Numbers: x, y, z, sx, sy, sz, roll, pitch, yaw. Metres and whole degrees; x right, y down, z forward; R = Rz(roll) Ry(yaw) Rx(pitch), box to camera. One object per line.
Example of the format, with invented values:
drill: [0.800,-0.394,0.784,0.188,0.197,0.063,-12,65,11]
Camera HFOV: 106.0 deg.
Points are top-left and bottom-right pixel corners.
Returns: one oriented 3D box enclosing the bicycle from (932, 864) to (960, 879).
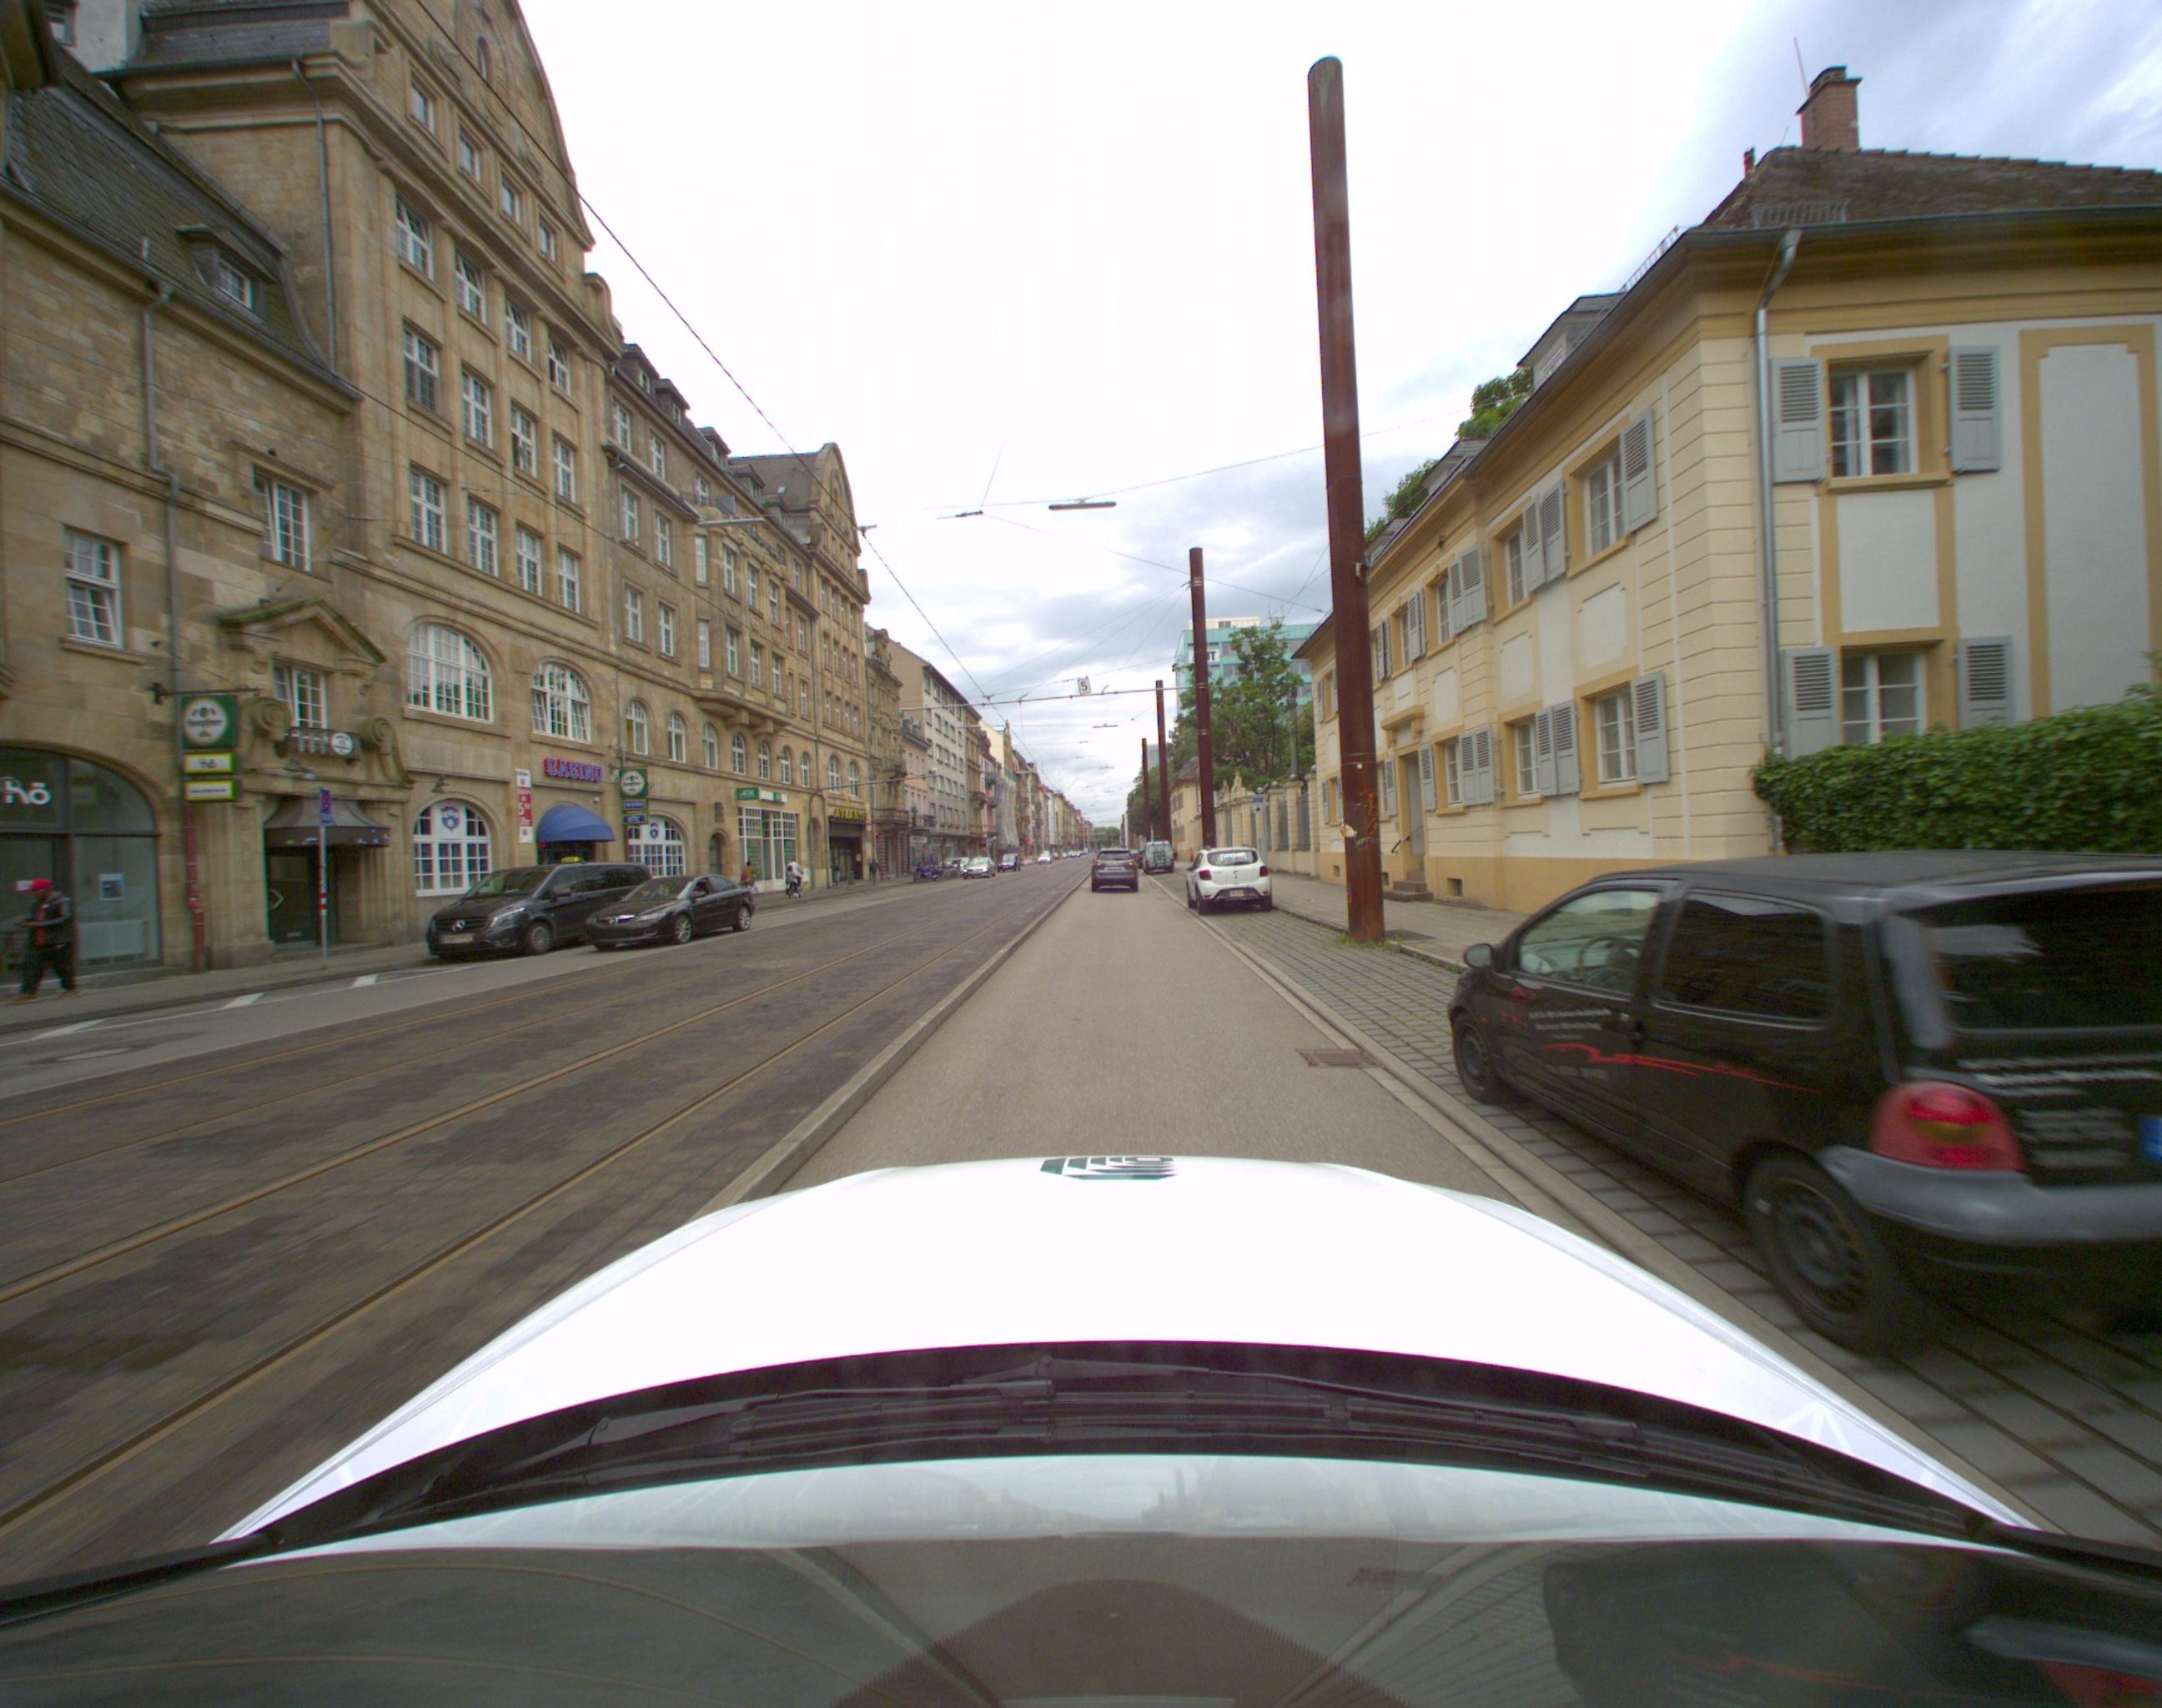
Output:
bicycle: [-10.084,1.306,60.833,1.963,1.001,0.462,-2,0,-6]

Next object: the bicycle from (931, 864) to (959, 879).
bicycle: [-10.044,1.317,60.227,1.963,1.001,0.462,-2,0,-6]

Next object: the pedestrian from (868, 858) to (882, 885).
pedestrian: [-12.349,1.037,48.864,0.566,1.598,0.718,-2,0,2]

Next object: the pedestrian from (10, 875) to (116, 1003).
pedestrian: [-14.610,1.192,11.710,0.493,1.728,0.765,-2,0,-1]

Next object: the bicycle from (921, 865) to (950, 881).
bicycle: [-10.112,1.289,56.483,1.919,1.001,0.462,-2,0,-6]

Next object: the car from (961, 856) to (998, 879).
car: [-7.113,0.895,57.452,1.752,1.449,4.617,-3,0,2]

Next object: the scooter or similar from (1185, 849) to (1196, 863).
scooter or similar: [9.907,0.200,73.765,0.744,1.250,1.920,-2,-1,2]

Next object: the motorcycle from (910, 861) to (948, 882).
motorcycle: [-10.167,1.154,54.526,2.353,1.302,0.874,-2,0,-35]

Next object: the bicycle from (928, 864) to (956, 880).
bicycle: [-10.088,1.306,59.073,1.963,1.001,0.462,-2,0,-6]

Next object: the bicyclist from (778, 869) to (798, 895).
bicyclist: [-12.876,1.222,35.786,0.608,1.117,0.660,-2,0,2]

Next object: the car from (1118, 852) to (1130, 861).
car: [7.069,0.443,133.558,1.769,1.420,4.137,-2,0,2]

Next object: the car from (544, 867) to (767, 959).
car: [-8.814,1.140,17.458,1.817,1.433,4.676,-5,0,7]

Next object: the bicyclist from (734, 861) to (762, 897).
bicyclist: [-12.944,0.960,31.666,0.608,1.324,0.972,-2,0,2]

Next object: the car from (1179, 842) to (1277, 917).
car: [3.584,0.571,20.463,1.749,1.574,3.932,-5,0,2]

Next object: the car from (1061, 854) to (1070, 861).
car: [-3.857,0.970,202.270,1.988,1.635,3.998,-2,-1,-1]

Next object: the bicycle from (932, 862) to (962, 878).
bicycle: [-10.199,1.243,62.091,2.227,1.126,0.503,-2,0,-6]

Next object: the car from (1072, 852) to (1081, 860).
car: [-1.093,0.497,196.704,1.988,1.635,3.998,-2,-1,-1]

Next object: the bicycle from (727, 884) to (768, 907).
bicycle: [-12.921,1.585,31.630,0.579,0.745,2.252,-2,0,2]

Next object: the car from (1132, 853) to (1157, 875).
car: [5.178,0.799,66.556,1.743,1.596,3.925,-5,0,2]

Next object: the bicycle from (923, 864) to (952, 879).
bicycle: [-10.160,1.252,57.749,1.963,1.001,0.462,-2,0,-6]

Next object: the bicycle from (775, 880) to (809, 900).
bicycle: [-12.831,1.591,36.232,0.579,0.745,2.252,-2,0,2]

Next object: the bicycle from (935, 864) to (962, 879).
bicycle: [-10.001,1.339,61.479,1.963,1.001,0.462,-2,0,-6]

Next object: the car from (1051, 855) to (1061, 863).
car: [-5.226,1.030,172.403,1.988,1.464,3.998,-2,-1,-1]

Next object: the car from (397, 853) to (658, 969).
car: [-11.582,1.052,17.645,1.892,1.977,5.099,-5,0,2]

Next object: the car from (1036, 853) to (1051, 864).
car: [-5.169,0.672,113.434,1.681,1.420,4.137,-2,0,2]

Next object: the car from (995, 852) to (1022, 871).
car: [-6.511,0.658,73.899,1.752,1.671,4.617,-2,0,2]

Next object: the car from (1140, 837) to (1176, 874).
car: [4.855,0.084,51.977,1.844,2.115,4.987,-5,0,2]

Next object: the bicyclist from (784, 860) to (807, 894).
bicyclist: [-12.842,1.022,36.615,0.608,1.487,0.972,-2,0,2]

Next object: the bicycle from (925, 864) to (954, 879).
bicycle: [-10.108,1.256,58.285,1.963,1.001,0.462,-2,0,-6]

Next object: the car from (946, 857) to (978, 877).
car: [-9.645,1.021,66.144,1.769,1.504,4.404,-2,0,2]

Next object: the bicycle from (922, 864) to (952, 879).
bicycle: [-10.114,1.239,57.243,1.963,1.001,0.462,-2,0,-6]

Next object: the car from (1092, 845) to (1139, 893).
car: [1.352,0.559,32.508,1.743,1.756,3.925,0,0,2]

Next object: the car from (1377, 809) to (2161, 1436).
car: [2.960,0.626,3.938,1.631,1.433,3.932,-5,0,2]

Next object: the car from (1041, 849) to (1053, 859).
car: [-5.992,0.053,143.109,1.988,1.706,3.998,-2,-1,-1]

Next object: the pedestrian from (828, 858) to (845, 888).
pedestrian: [-13.746,1.056,45.803,0.682,1.613,0.742,-2,0,2]
